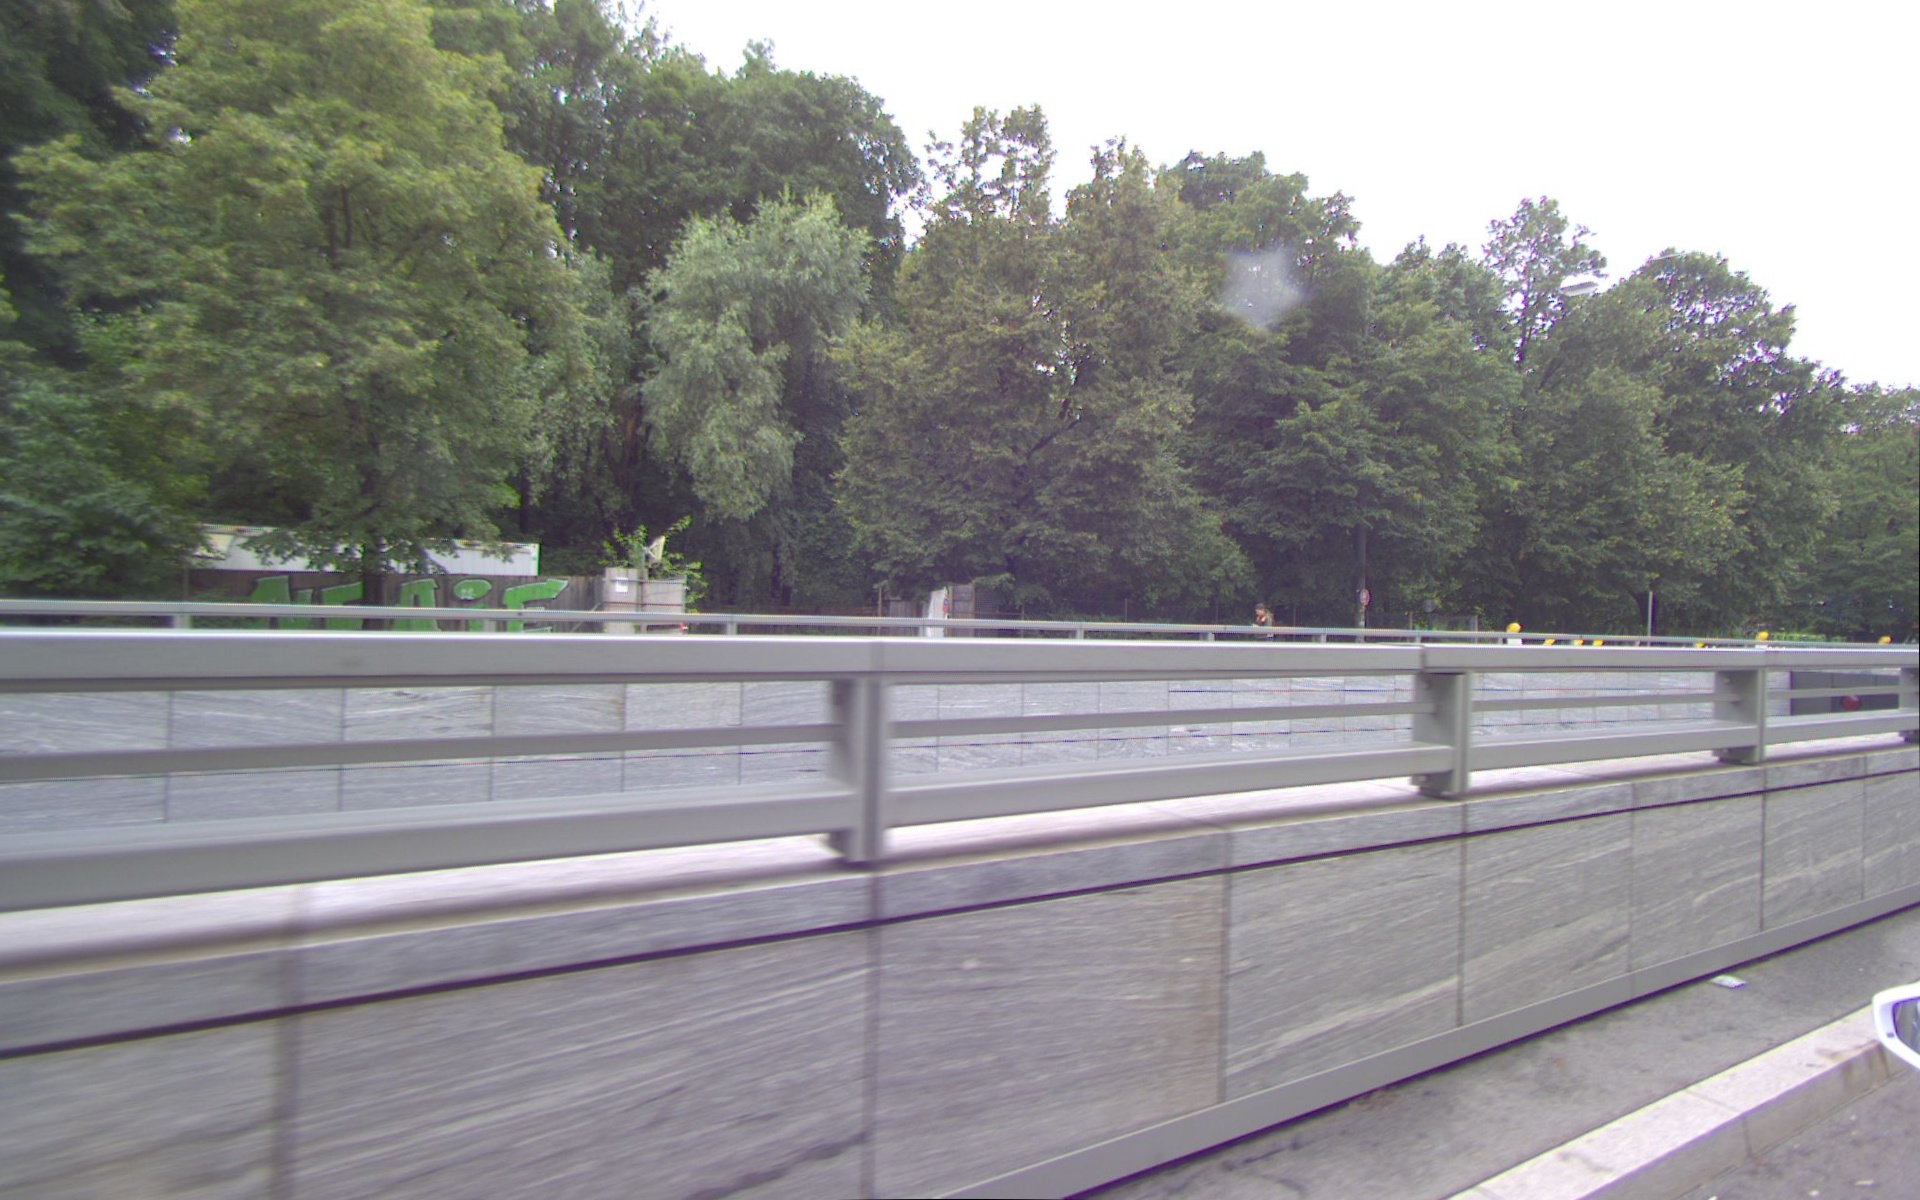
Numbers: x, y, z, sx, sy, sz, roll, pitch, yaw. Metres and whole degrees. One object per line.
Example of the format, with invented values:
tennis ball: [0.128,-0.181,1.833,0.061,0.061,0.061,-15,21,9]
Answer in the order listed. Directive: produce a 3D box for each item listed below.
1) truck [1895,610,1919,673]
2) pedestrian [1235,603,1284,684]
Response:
truck: [45.237,1.949,45.917,5.800,2.765,1.984,2,-1,-30]
pedestrian: [6.264,0.905,21.012,0.690,1.663,0.660,2,0,-29]
